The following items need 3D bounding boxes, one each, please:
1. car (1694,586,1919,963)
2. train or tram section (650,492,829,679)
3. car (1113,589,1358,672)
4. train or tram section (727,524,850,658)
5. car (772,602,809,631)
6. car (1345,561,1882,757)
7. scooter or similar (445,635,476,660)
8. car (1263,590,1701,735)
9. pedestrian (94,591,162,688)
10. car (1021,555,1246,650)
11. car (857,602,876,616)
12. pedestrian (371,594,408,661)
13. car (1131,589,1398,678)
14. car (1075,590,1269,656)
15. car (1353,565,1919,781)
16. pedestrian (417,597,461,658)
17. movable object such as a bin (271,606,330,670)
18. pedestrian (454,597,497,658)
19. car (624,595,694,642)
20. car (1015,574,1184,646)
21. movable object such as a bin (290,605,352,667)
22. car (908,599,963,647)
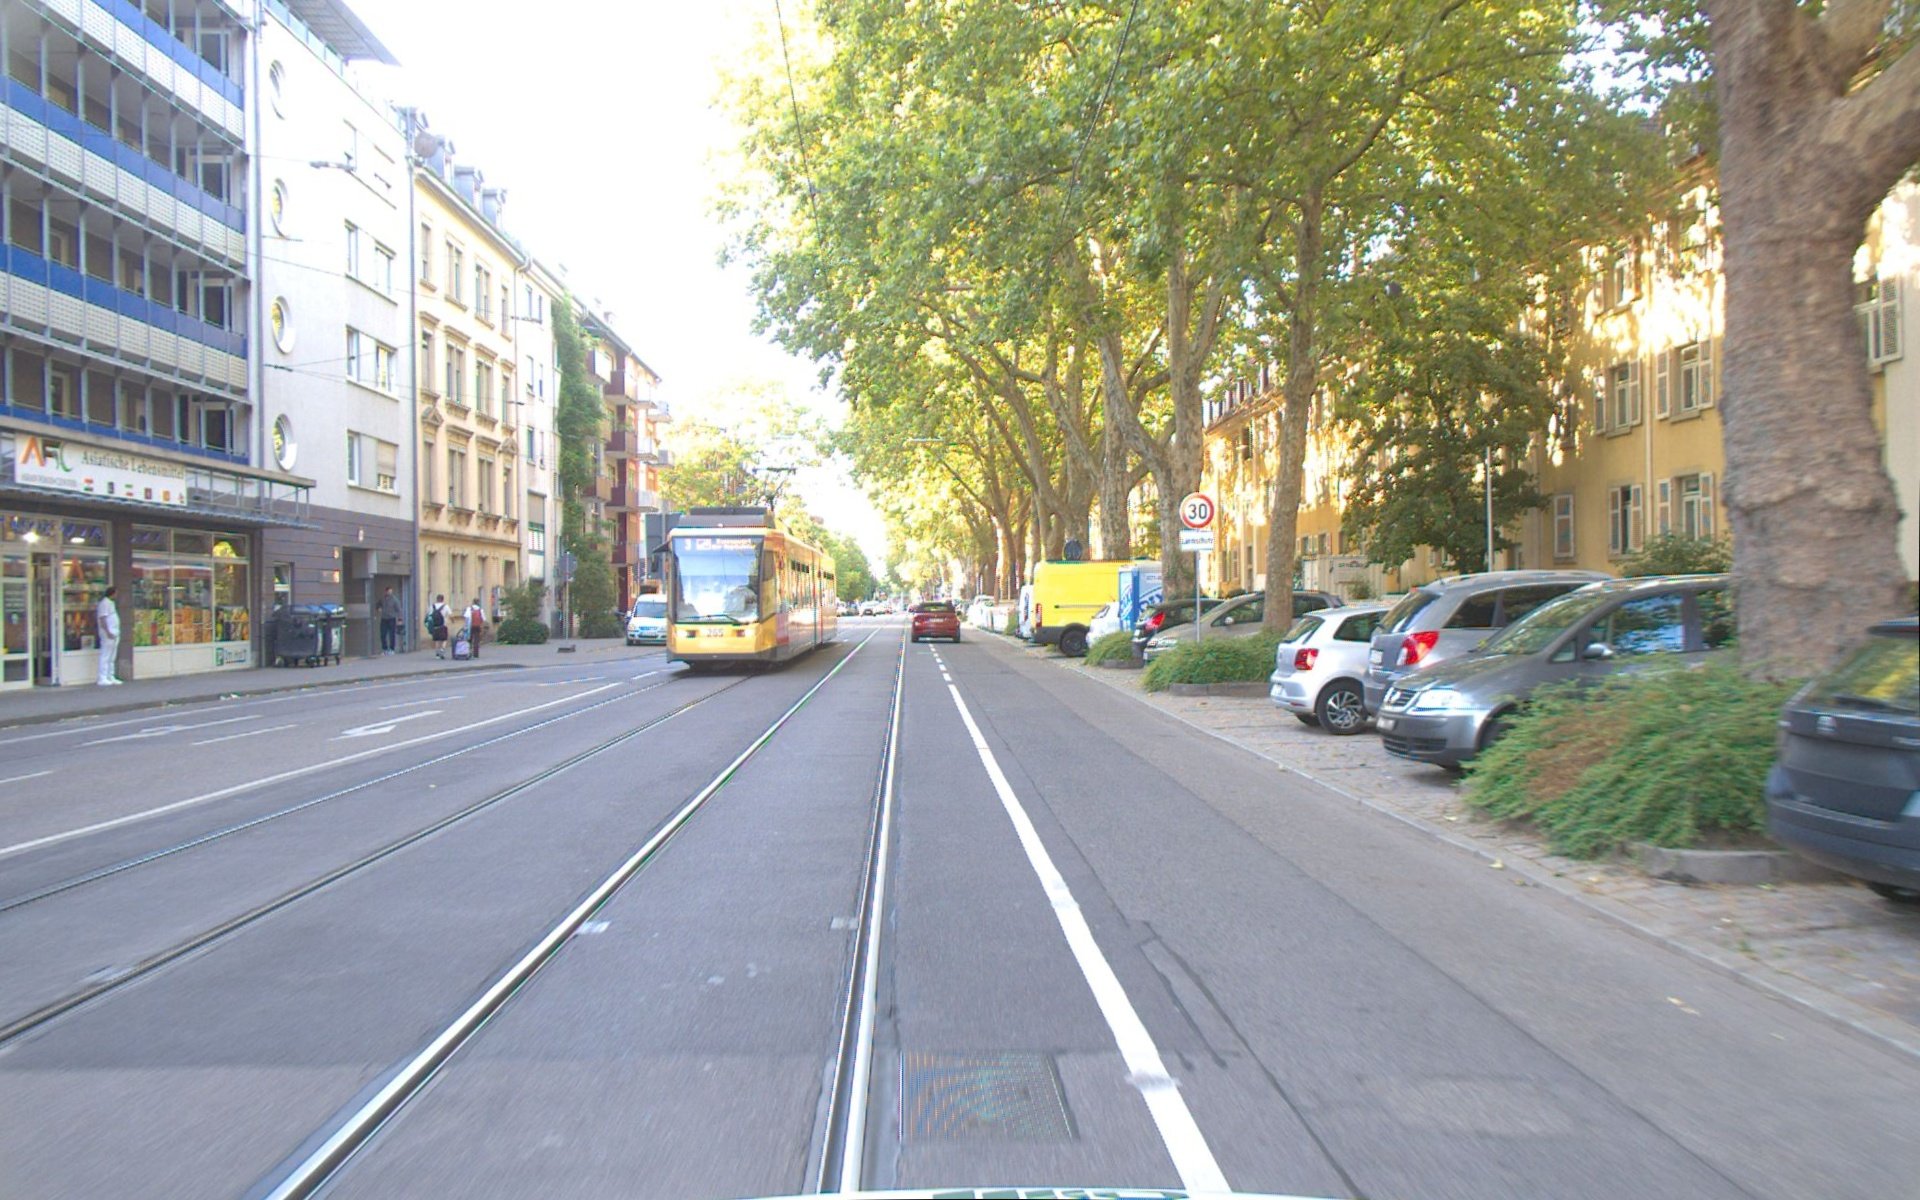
[{"bbox_3d":[6.089,0.675,7.713,4.494,1.532,1.918,-1,0,-4],"label":"car"},{"bbox_3d":[-4.943,-0.282,39.732,2.803,3.702,13.194,-1,0,-1],"label":"train or tram section"},{"bbox_3d":[5.599,0.604,33.967,4.619,1.561,1.918,-1,0,-5],"label":"car"},{"bbox_3d":[-5.231,-0.247,52.722,2.774,3.702,12.814,-1,0,-1],"label":"train or tram section"},{"bbox_3d":[-9.981,0.958,97.505,1.855,1.591,4.391,-1,0,-2],"label":"car"},{"bbox_3d":[6.418,0.557,16.616,4.617,1.752,1.919,-1,0,-2],"label":"car"},{"bbox_3d":[-13.652,1.297,45.187,0.612,0.659,0.766,-1,0,-1],"label":"scooter or similar"},{"bbox_3d":[6.147,0.711,19.847,4.617,1.561,1.919,-1,0,-2],"label":"car"},{"bbox_3d":[-15.258,0.738,30.345,1.015,1.692,1.218,-1,-4,-23],"label":"pedestrian"},{"bbox_3d":[4.637,0.067,44.773,5.824,2.407,2.060,-1,0,-1],"label":"car"},{"bbox_3d":[-10.604,0.988,188.043,1.955,1.536,3.995,-1,0,-6],"label":"car"},{"bbox_3d":[-16.498,0.790,47.815,0.882,1.897,0.781,-1,0,-29],"label":"pedestrian"},{"bbox_3d":[5.700,0.610,31.310,4.619,1.561,1.918,-1,0,-4],"label":"car"},{"bbox_3d":[5.365,0.573,42.233,4.618,1.561,1.918,-1,0,-3],"label":"car"},{"bbox_3d":[5.918,0.572,14.159,4.616,1.630,1.919,-1,0,-1],"label":"car"},{"bbox_3d":[-14.262,0.739,45.284,0.874,1.653,1.034,-1,0,-1],"label":"pedestrian"},{"bbox_3d":[-15.324,0.874,38.461,0.993,1.453,1.143,-1,0,-6],"label":"movable object such as a bin"},{"bbox_3d":[-13.472,0.750,46.021,0.874,1.653,1.034,-1,0,-1],"label":"pedestrian"},{"bbox_3d":[-10.905,0.642,60.111,1.855,1.591,4.391,-1,0,-2],"label":"car"},{"bbox_3d":[4.547,0.312,54.431,5.332,2.230,2.060,-1,0,-1],"label":"car"},{"bbox_3d":[-15.408,0.848,39.895,0.992,1.453,1.256,-1,0,-1],"label":"movable object such as a bin"},{"bbox_3d":[-0.890,0.837,59.683,1.855,1.591,4.391,-2,-1,-1],"label":"car"}]
